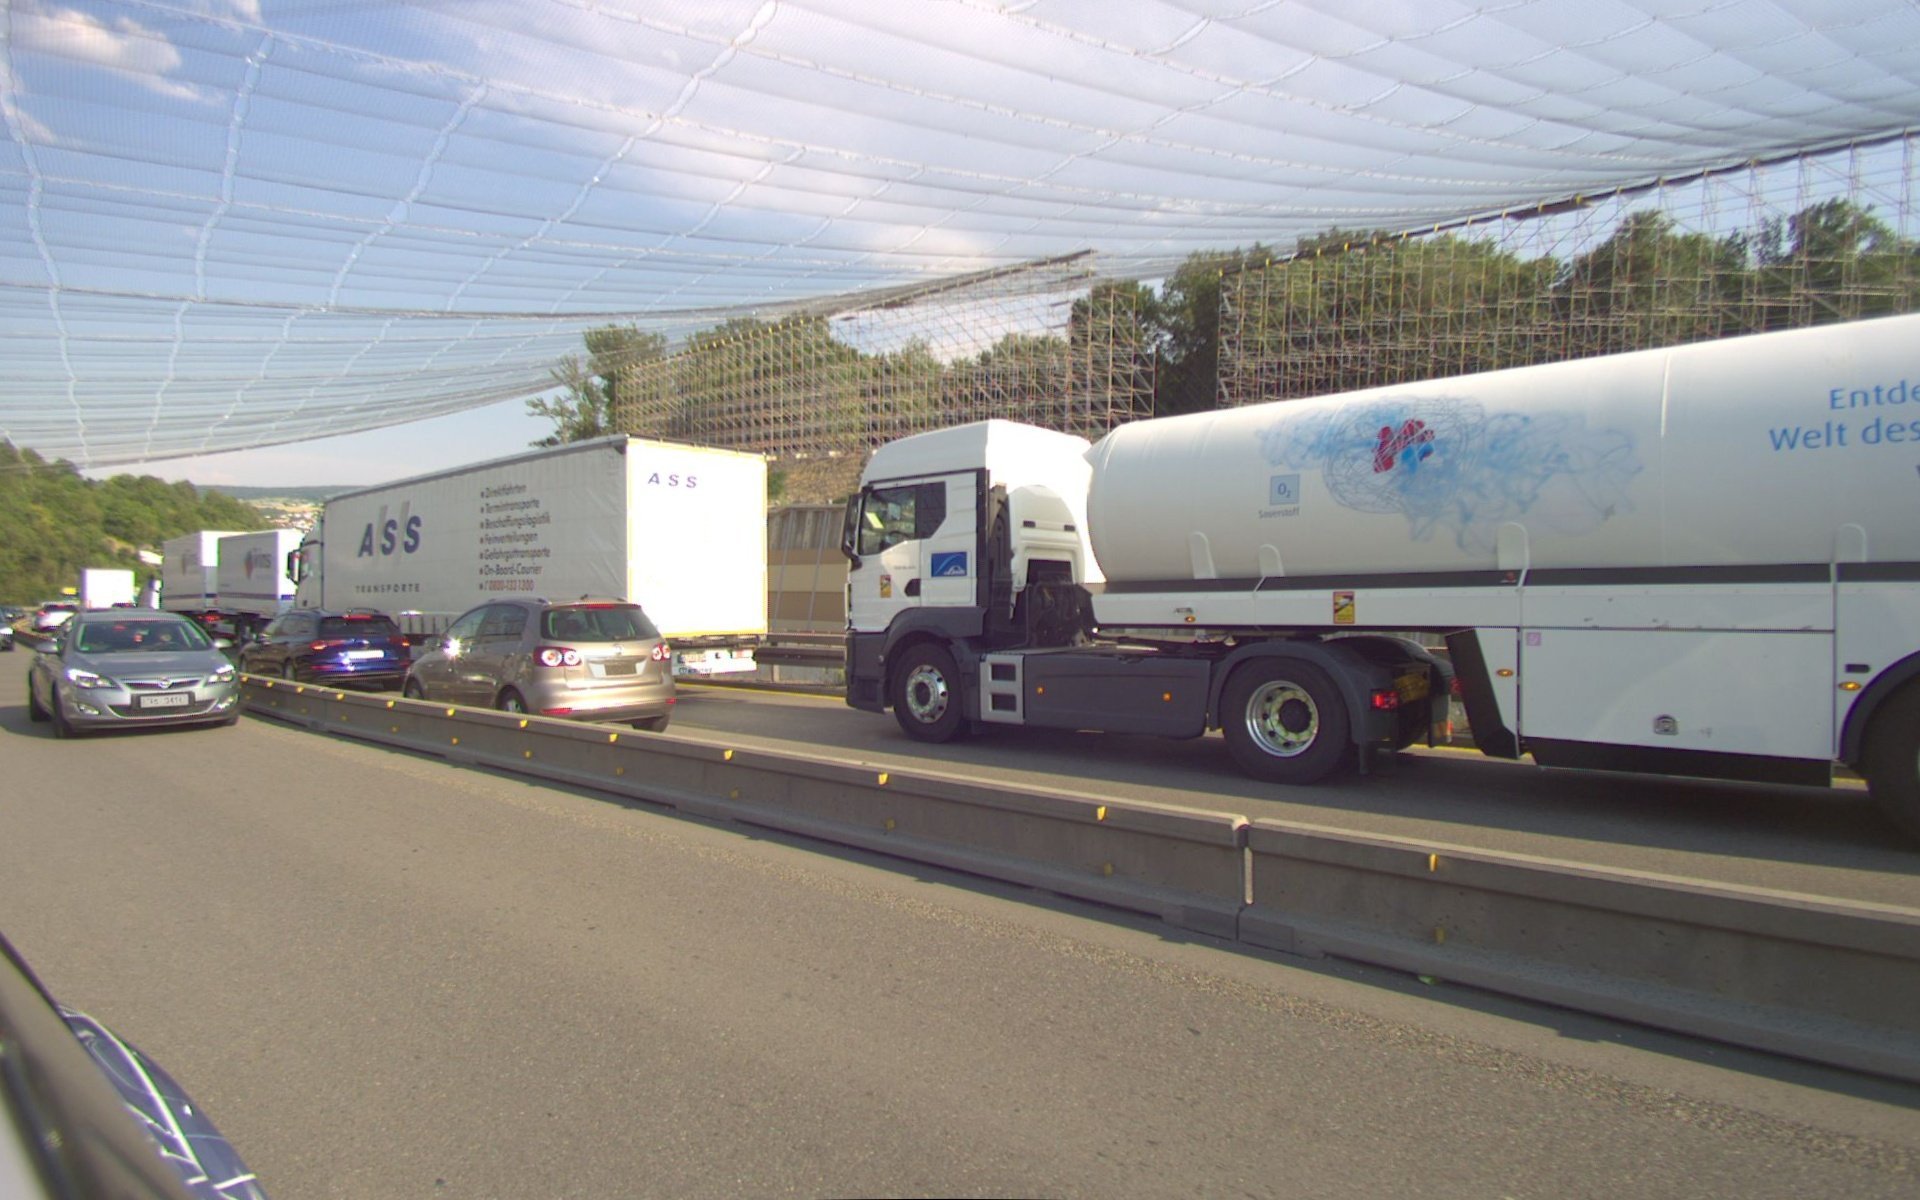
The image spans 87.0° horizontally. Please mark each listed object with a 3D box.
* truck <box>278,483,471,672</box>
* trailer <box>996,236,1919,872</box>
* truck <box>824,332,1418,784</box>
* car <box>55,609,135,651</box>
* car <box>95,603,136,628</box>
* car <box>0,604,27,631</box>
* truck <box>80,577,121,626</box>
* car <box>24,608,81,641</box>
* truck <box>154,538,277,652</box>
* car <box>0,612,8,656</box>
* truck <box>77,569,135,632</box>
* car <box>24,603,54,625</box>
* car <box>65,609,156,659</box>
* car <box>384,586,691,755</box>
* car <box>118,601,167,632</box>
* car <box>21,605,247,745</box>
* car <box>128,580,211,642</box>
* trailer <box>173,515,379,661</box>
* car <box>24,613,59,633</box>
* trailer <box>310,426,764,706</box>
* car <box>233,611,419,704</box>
[{"bbox_3d":[-14.335,-0.475,24.622,5.616,4.076,2.447,0,0,42],"label":"truck"},{"bbox_3d":[5.605,-0.249,6.479,12.048,3.387,2.283,0,0,42],"label":"trailer"},{"bbox_3d":[1.365,-0.307,10.368,5.615,3.395,2.388,0,0,41],"label":"truck"},{"bbox_3d":[-33.108,1.104,38.691,4.663,1.461,1.758,0,0,43],"label":"car"},{"bbox_3d":[-56.169,1.007,67.309,1.771,1.552,4.914,0,0,-44],"label":"car"},{"bbox_3d":[-57.596,1.025,60.911,4.366,1.580,1.788,0,0,43],"label":"car"},{"bbox_3d":[-87.171,0.169,102.633,2.950,4.593,17.434,0,0,-41],"label":"truck"},{"bbox_3d":[-45.851,1.194,51.107,4.366,1.580,1.788,0,0,43],"label":"car"},{"bbox_3d":[-28.507,-0.168,38.638,7.206,3.939,2.601,0,0,44],"label":"truck"},{"bbox_3d":[-32.913,1.118,33.627,3.824,1.394,1.740,0,0,45],"label":"car"},{"bbox_3d":[-63.669,0.056,75.317,2.689,4.259,14.183,0,0,-43],"label":"truck"},{"bbox_3d":[-81.647,1.191,89.697,1.787,1.883,5.286,0,0,-44],"label":"car"},{"bbox_3d":[-25.606,0.966,30.465,3.899,1.386,1.590,0,0,42],"label":"car"},{"bbox_3d":[-4.924,0.671,11.551,3.942,1.599,1.732,0,0,42],"label":"car"},{"bbox_3d":[-48.548,0.971,60.066,1.802,1.740,4.941,0,0,-44],"label":"car"},{"bbox_3d":[-10.697,0.819,12.981,4.354,1.484,1.736,0,0,44],"label":"car"},{"bbox_3d":[-37.668,0.509,48.132,7.085,2.733,2.216,0,0,45],"label":"car"},{"bbox_3d":[-22.969,-0.307,33.443,13.332,4.046,2.641,0,0,43],"label":"trailer"},{"bbox_3d":[-68.734,1.682,75.740,1.787,1.430,4.521,0,0,-44],"label":"car"},{"bbox_3d":[-9.205,-0.457,19.998,14.093,3.993,2.402,0,0,42],"label":"trailer"},{"bbox_3d":[-11.281,0.924,17.889,4.244,1.408,1.774,0,0,43],"label":"car"}]
